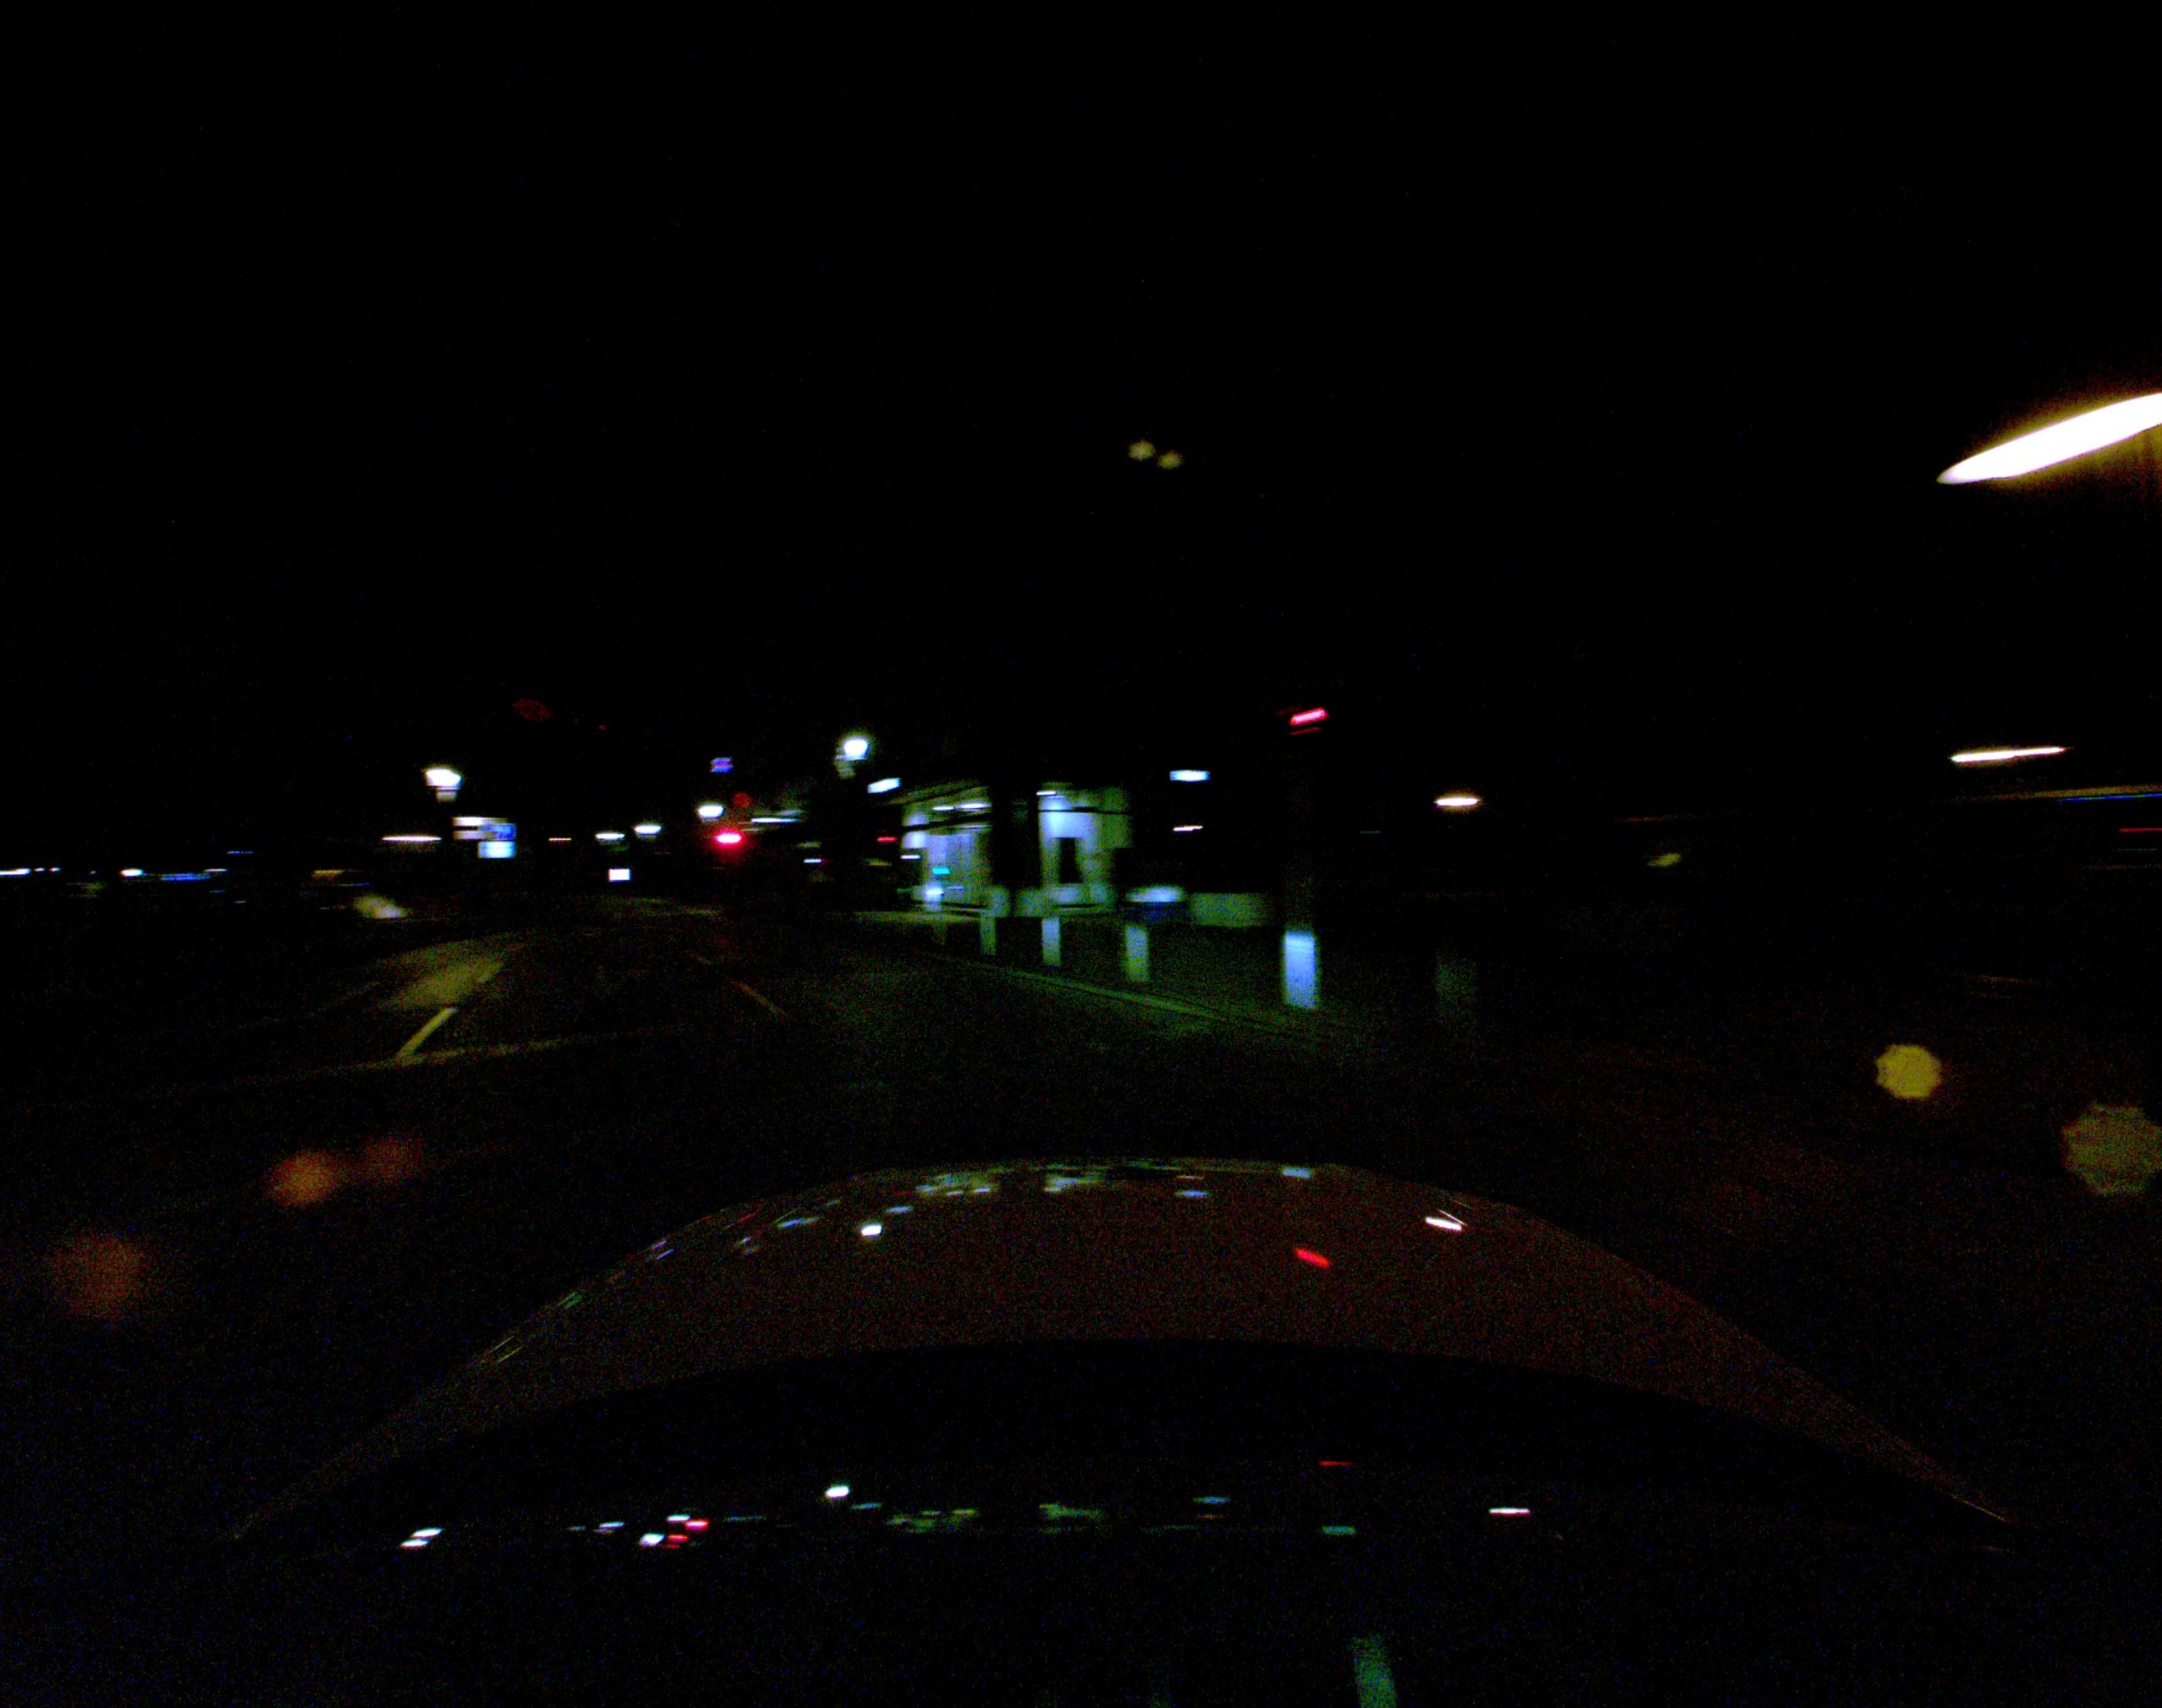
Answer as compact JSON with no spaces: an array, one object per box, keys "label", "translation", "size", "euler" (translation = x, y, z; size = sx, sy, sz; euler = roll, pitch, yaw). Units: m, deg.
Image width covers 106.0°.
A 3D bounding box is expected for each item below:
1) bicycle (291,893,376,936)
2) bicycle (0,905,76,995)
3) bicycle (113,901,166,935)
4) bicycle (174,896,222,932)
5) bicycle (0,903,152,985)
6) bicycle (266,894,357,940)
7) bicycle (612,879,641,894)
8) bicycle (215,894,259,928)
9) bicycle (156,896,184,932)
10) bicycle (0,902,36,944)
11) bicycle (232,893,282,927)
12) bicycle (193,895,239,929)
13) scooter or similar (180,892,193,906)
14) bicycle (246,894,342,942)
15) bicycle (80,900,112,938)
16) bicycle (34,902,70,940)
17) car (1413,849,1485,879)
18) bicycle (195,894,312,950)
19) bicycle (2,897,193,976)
[{"label":"bicycle","translation":[-20.711,1.666,22.594],"size":[1.627,1.106,0.663],"euler":[-1,-2,-32]},{"label":"bicycle","translation":[-14.967,1.274,10.801],"size":[1.843,1.157,0.780],"euler":[1,-3,-26]},{"label":"bicycle","translation":[-31.427,2.122,27.179],"size":[1.726,1.070,0.612],"euler":[-1,0,23]},{"label":"bicycle","translation":[-30.420,2.042,28.051],"size":[1.725,1.165,0.612],"euler":[-1,0,26]},{"label":"bicycle","translation":[-15.332,1.314,12.136],"size":[1.744,1.157,0.780],"euler":[1,-3,-26]},{"label":"bicycle","translation":[-20.178,1.630,21.405],"size":[1.627,1.106,0.663],"euler":[-1,-2,-32]},{"label":"bicycle","translation":[-32.855,2.330,58.897],"size":[0.647,1.062,1.766],"euler":[-1,-1,34]},{"label":"bicycle","translation":[-30.294,2.029,29.228],"size":[1.725,1.154,0.548],"euler":[-1,0,26]},{"label":"bicycle","translation":[-31.650,2.071,28.287],"size":[1.725,1.165,0.613],"euler":[-1,1,41]},{"label":"bicycle","translation":[-32.770,2.103,25.078],"size":[1.725,1.165,0.613],"euler":[-1,1,41]},{"label":"bicycle","translation":[-30.440,2.045,30.091],"size":[1.725,1.162,0.766],"euler":[-1,0,26]},{"label":"bicycle","translation":[-30.666,2.039,28.863],"size":[1.725,1.165,0.612],"euler":[-1,0,26]},{"label":"scooter or similar","translation":[-84.565,4.296,76.986],"size":[1.133,1.284,0.434],"euler":[-2,0,24]},{"label":"bicycle","translation":[-19.941,1.599,20.676],"size":[1.627,1.106,0.663],"euler":[-1,-2,-32]},{"label":"bicycle","translation":[-32.060,2.087,26.522],"size":[1.725,1.125,0.613],"euler":[-1,1,41]},{"label":"bicycle","translation":[-32.771,2.122,25.951],"size":[1.725,1.100,0.613],"euler":[-1,1,41]},{"label":"car","translation":[20.146,0.517,44.559],"size":[4.019,1.451,1.903],"euler":[-2,1,-37]},{"label":"bicycle","translation":[-19.065,1.547,18.813],"size":[1.781,1.164,0.663],"euler":[-1,-1,-32]},{"label":"bicycle","translation":[-15.715,1.291,13.086],"size":[1.744,1.167,0.780],"euler":[1,-2,-26]}]
